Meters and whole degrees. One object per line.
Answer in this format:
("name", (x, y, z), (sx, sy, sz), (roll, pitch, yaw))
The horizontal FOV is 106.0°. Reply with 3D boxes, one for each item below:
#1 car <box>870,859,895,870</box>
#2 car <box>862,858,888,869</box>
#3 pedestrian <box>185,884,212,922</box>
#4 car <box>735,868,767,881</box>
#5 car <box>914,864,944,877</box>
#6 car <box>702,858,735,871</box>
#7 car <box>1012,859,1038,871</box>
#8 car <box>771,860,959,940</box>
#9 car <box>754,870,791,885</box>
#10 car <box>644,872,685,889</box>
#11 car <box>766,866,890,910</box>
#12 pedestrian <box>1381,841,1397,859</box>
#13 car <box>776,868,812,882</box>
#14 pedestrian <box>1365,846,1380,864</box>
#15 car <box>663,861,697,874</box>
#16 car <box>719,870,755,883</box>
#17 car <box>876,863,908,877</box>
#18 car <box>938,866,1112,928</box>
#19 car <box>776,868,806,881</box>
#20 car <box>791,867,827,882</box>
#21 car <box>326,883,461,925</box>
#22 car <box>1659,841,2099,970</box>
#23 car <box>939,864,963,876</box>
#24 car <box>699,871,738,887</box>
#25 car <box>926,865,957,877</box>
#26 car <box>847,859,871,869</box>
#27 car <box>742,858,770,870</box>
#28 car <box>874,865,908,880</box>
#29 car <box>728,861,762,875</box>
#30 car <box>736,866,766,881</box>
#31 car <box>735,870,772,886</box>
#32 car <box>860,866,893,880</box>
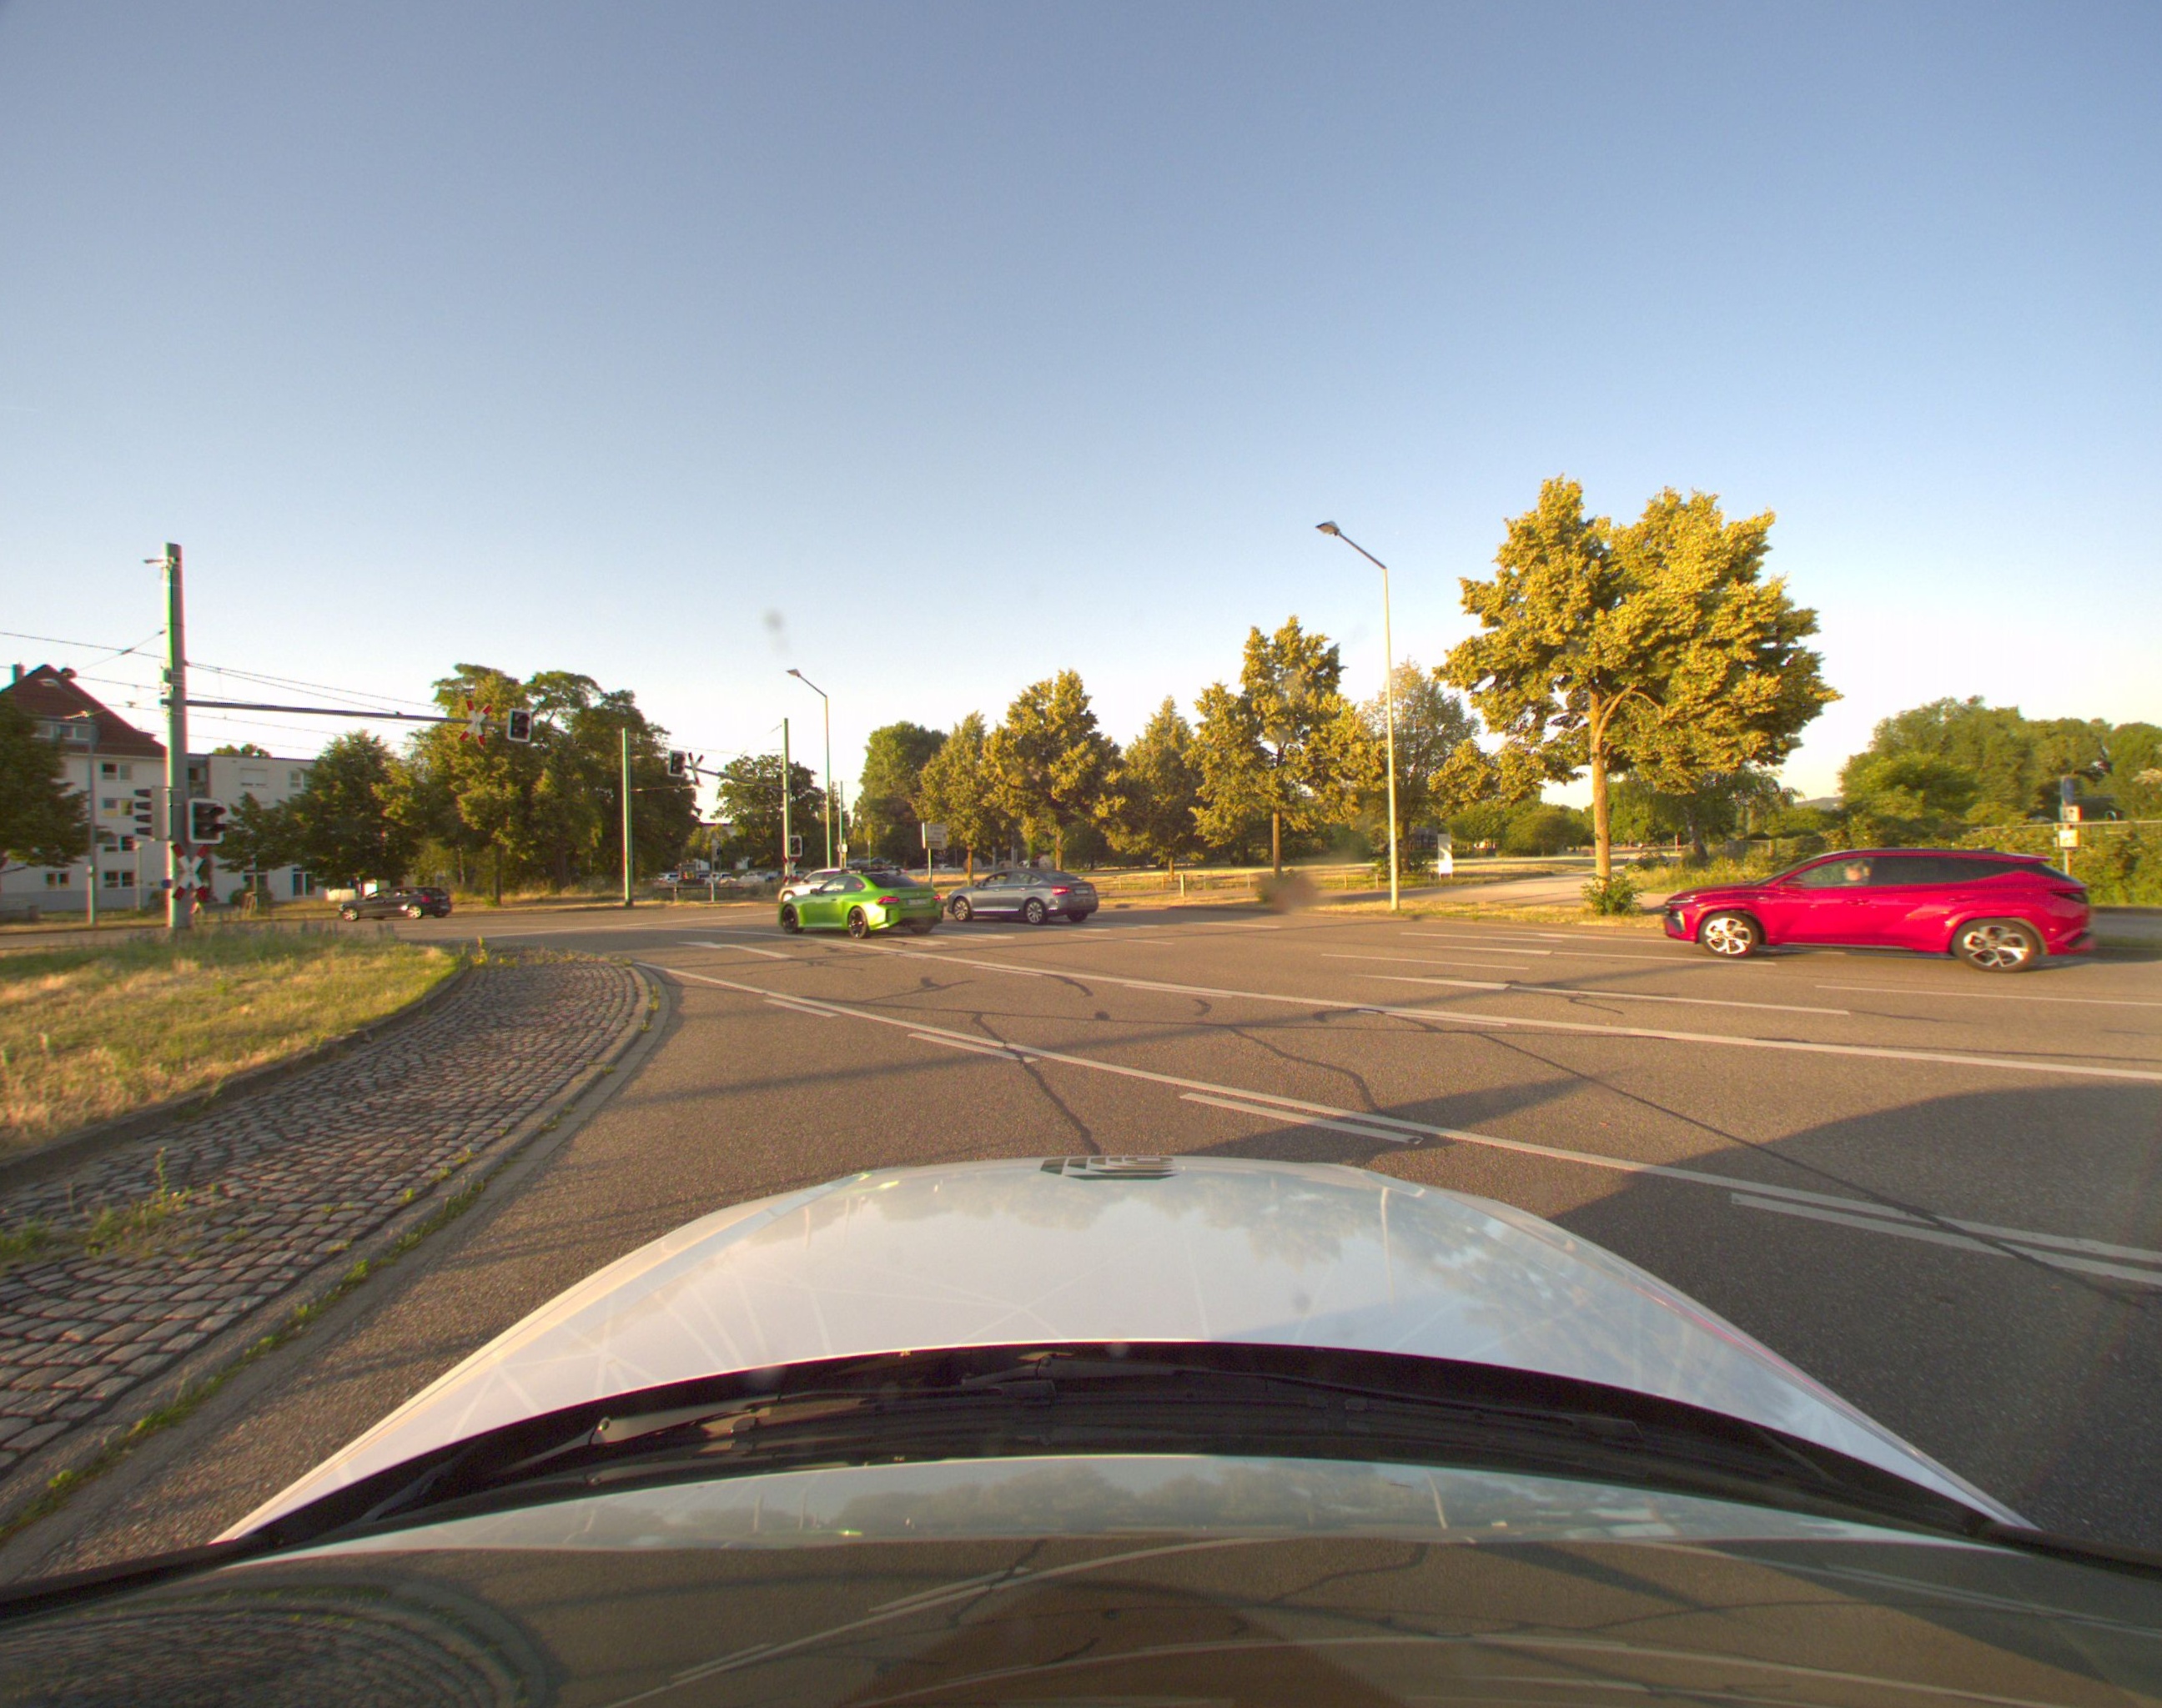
("car", (-35.664, 1.889, 146.448), (3.964, 1.706, 2.005), (-2, 0, 8))
("car", (-37.940, 1.779, 150.055), (1.975, 2.013, 4.025), (-2, 0, 42))
("pedestrian", (-44.754, 2.484, 41.314), (0.666, 1.893, 0.619), (0, -1, -4))
("car", (-46.211, 2.787, 113.956), (4.005, 1.662, 1.984), (-2, 0, -24))
("car", (-21.449, 2.316, 114.798), (3.948, 1.604, 2.013), (-2, 0, 34))
("car", (-61.906, 1.793, 139.076), (1.974, 2.013, 4.628), (-2, 0, 36))
("car", (-7.937, 1.523, 115.273), (1.748, 1.618, 3.954), (-1, 0, -39))
("car", (-5.042, 0.993, 18.726), (4.428, 1.579, 2.012), (-2, 0, 41))
("car", (-35.490, 2.711, 93.683), (3.948, 1.604, 2.013), (-2, 0, 34))
("car", (-42.636, 2.680, 83.336), (3.948, 1.604, 2.013), (-2, 0, 34))
("car", (-10.278, 1.363, 33.104), (4.472, 1.637, 2.011), (-2, 0, 21))
("pedestrian", (28.064, -0.367, 74.178), (1.064, 1.617, 0.911), (-2, 0, 4))
("car", (-33.682, 2.451, 95.442), (3.948, 1.604, 2.013), (-2, 0, 34))
("pedestrian", (27.081, 0.075, 75.585), (1.064, 1.617, 0.911), (-2, 0, 4))
("car", (-65.645, 2.238, 133.337), (1.974, 2.013, 4.627), (-2, 0, 32))
("car", (-46.096, 3.018, 109.157), (1.878, 1.662, 4.026), (-2, 0, 37))
("car", (-29.359, 2.416, 126.711), (4.578, 2.013, 1.995), (-2, 0, -7))
("car", (-1.600, 1.130, 22.263), (4.610, 1.464, 1.899), (-2, 0, 37))
("car", (-41.281, 2.885, 116.007), (4.001, 1.662, 1.889), (-2, 0, -20))
("car", (-32.617, 2.461, 97.621), (3.948, 1.604, 2.013), (-2, 0, 34))
("car", (-29.147, 2.086, 34.618), (3.984, 1.353, 1.690), (-3, 3, -8))
("car", (11.393, 0.664, 12.129), (4.359, 1.573, 2.013), (-2, 0, 40))
("car", (-20.822, 2.528, 129.999), (2.008, 1.752, 4.549), (-1, 1, -35))
("car", (-39.005, 2.688, 87.554), (3.948, 1.604, 2.013), (-2, 0, 34))
("car", (-19.974, 2.373, 116.492), (3.948, 1.604, 2.013), (-2, 0, 34))
("car", (-41.729, 1.889, 153.034), (1.974, 1.816, 4.026), (-2, 0, 37))
("car", (-57.818, 1.808, 144.946), (1.974, 2.013, 4.143), (-2, 0, 36))
("car", (-27.633, 2.685, 118.523), (4.578, 2.013, 1.995), (-2, 0, -7))
("car", (-51.864, 2.126, 125.815), (1.974, 2.013, 4.627), (-2, 0, 32))
("car", (-47.843, 2.777, 118.039), (4.006, 2.013, 1.984), (-2, 0, -24))
("car", (-37.035, 2.710, 92.073), (3.948, 1.604, 2.013), (-2, 0, 34))
("car", (-26.653, 2.485, 105.998), (3.948, 1.604, 2.013), (-2, 0, 34))
